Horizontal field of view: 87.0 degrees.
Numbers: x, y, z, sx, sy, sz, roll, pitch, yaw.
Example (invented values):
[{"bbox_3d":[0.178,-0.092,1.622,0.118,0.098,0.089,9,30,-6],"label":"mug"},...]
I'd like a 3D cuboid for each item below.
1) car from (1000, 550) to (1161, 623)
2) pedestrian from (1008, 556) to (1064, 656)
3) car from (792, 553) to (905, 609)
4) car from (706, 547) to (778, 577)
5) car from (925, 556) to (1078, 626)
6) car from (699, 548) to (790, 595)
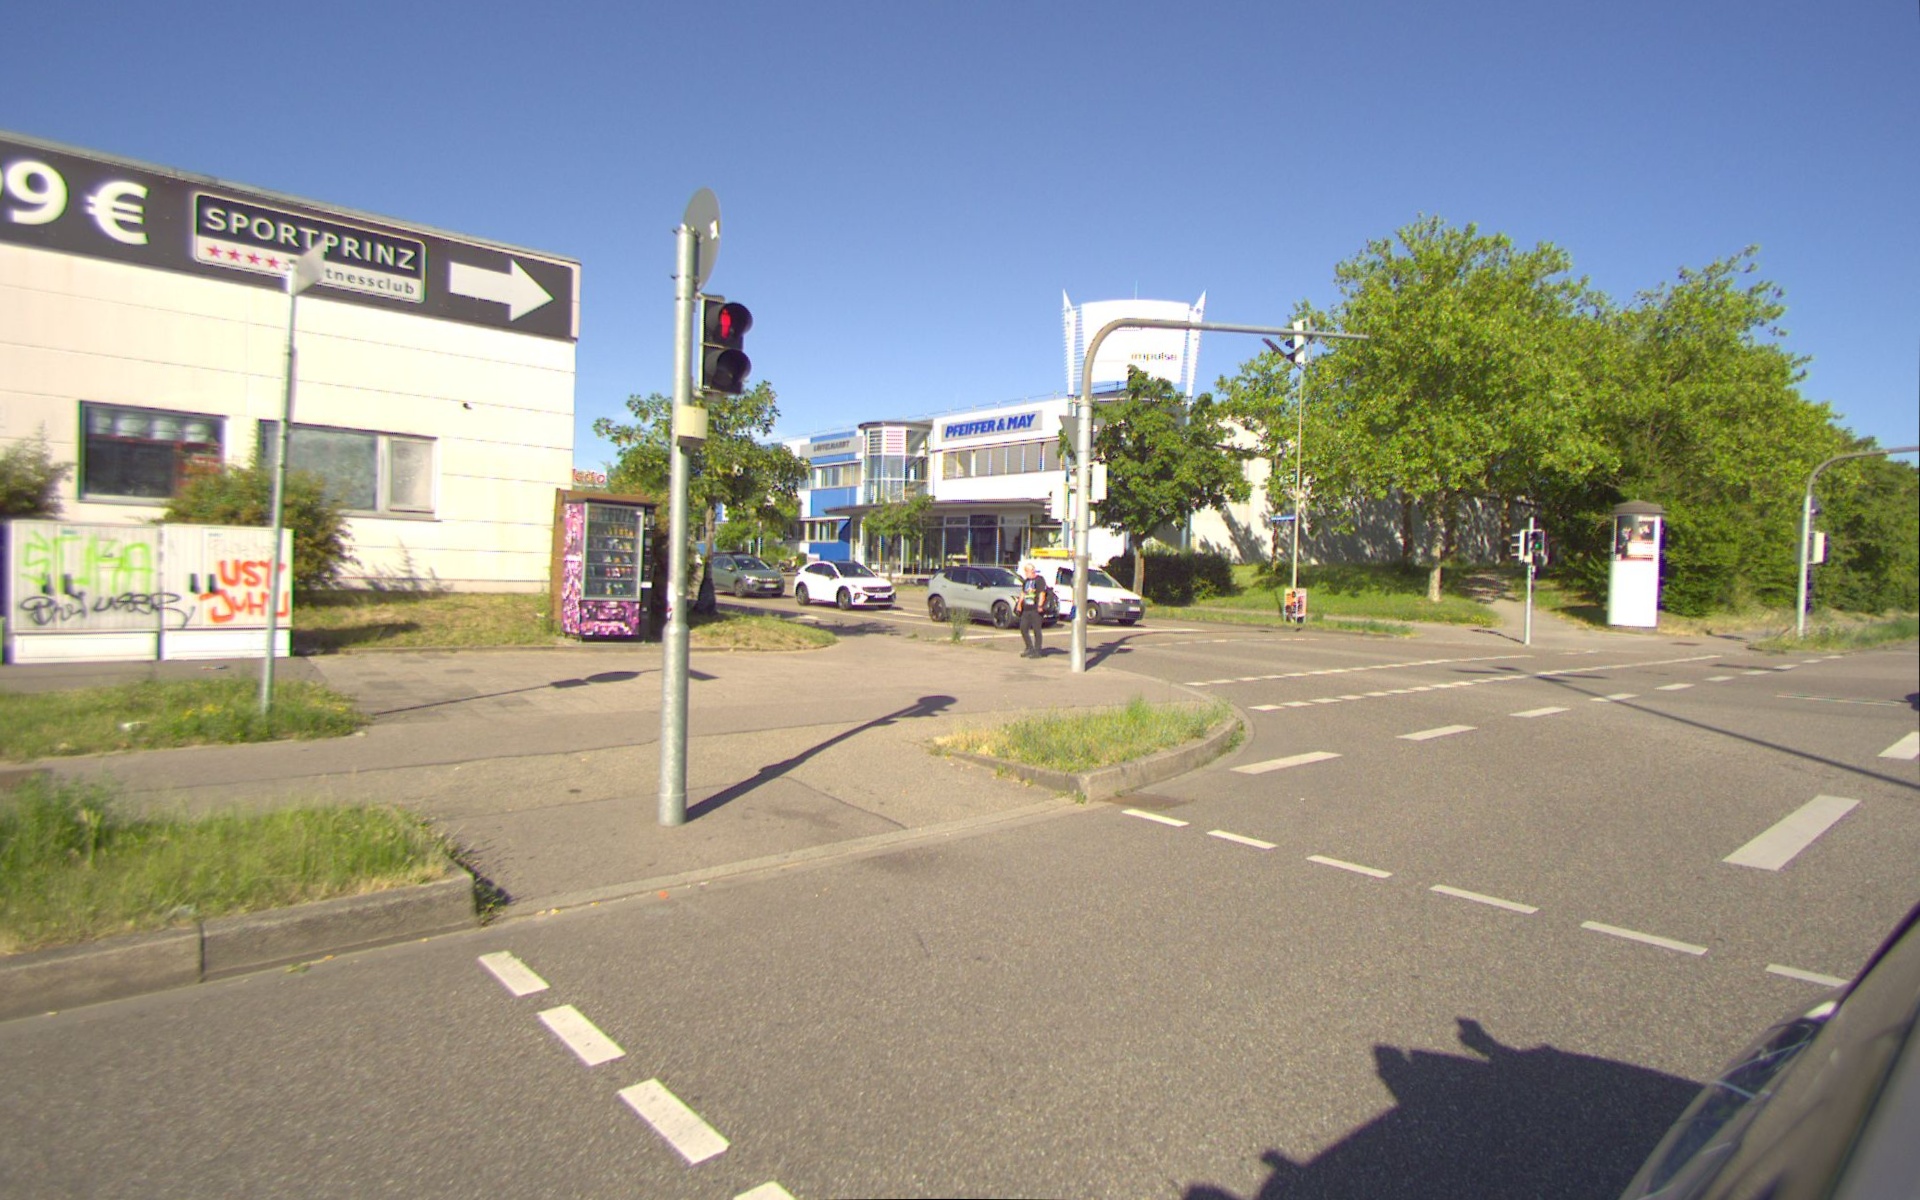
[{"bbox_3d":[3.409,-0.450,29.480,1.839,1.958,4.692,0,2,-39],"label":"car"},{"bbox_3d":[1.363,0.091,18.205,0.607,1.737,0.759,0,2,-40],"label":"pedestrian"},{"bbox_3d":[-3.655,-0.673,32.699,1.776,1.608,3.929,-2,4,-39],"label":"car"},{"bbox_3d":[-14.124,-2.450,65.676,4.286,1.858,1.720,-1,2,-41],"label":"car"},{"bbox_3d":[1.047,-0.314,27.206,1.868,1.665,4.101,-2,4,-39],"label":"car"},{"bbox_3d":[-8.180,-1.106,38.164,1.776,1.608,3.929,-2,4,-39],"label":"car"}]
